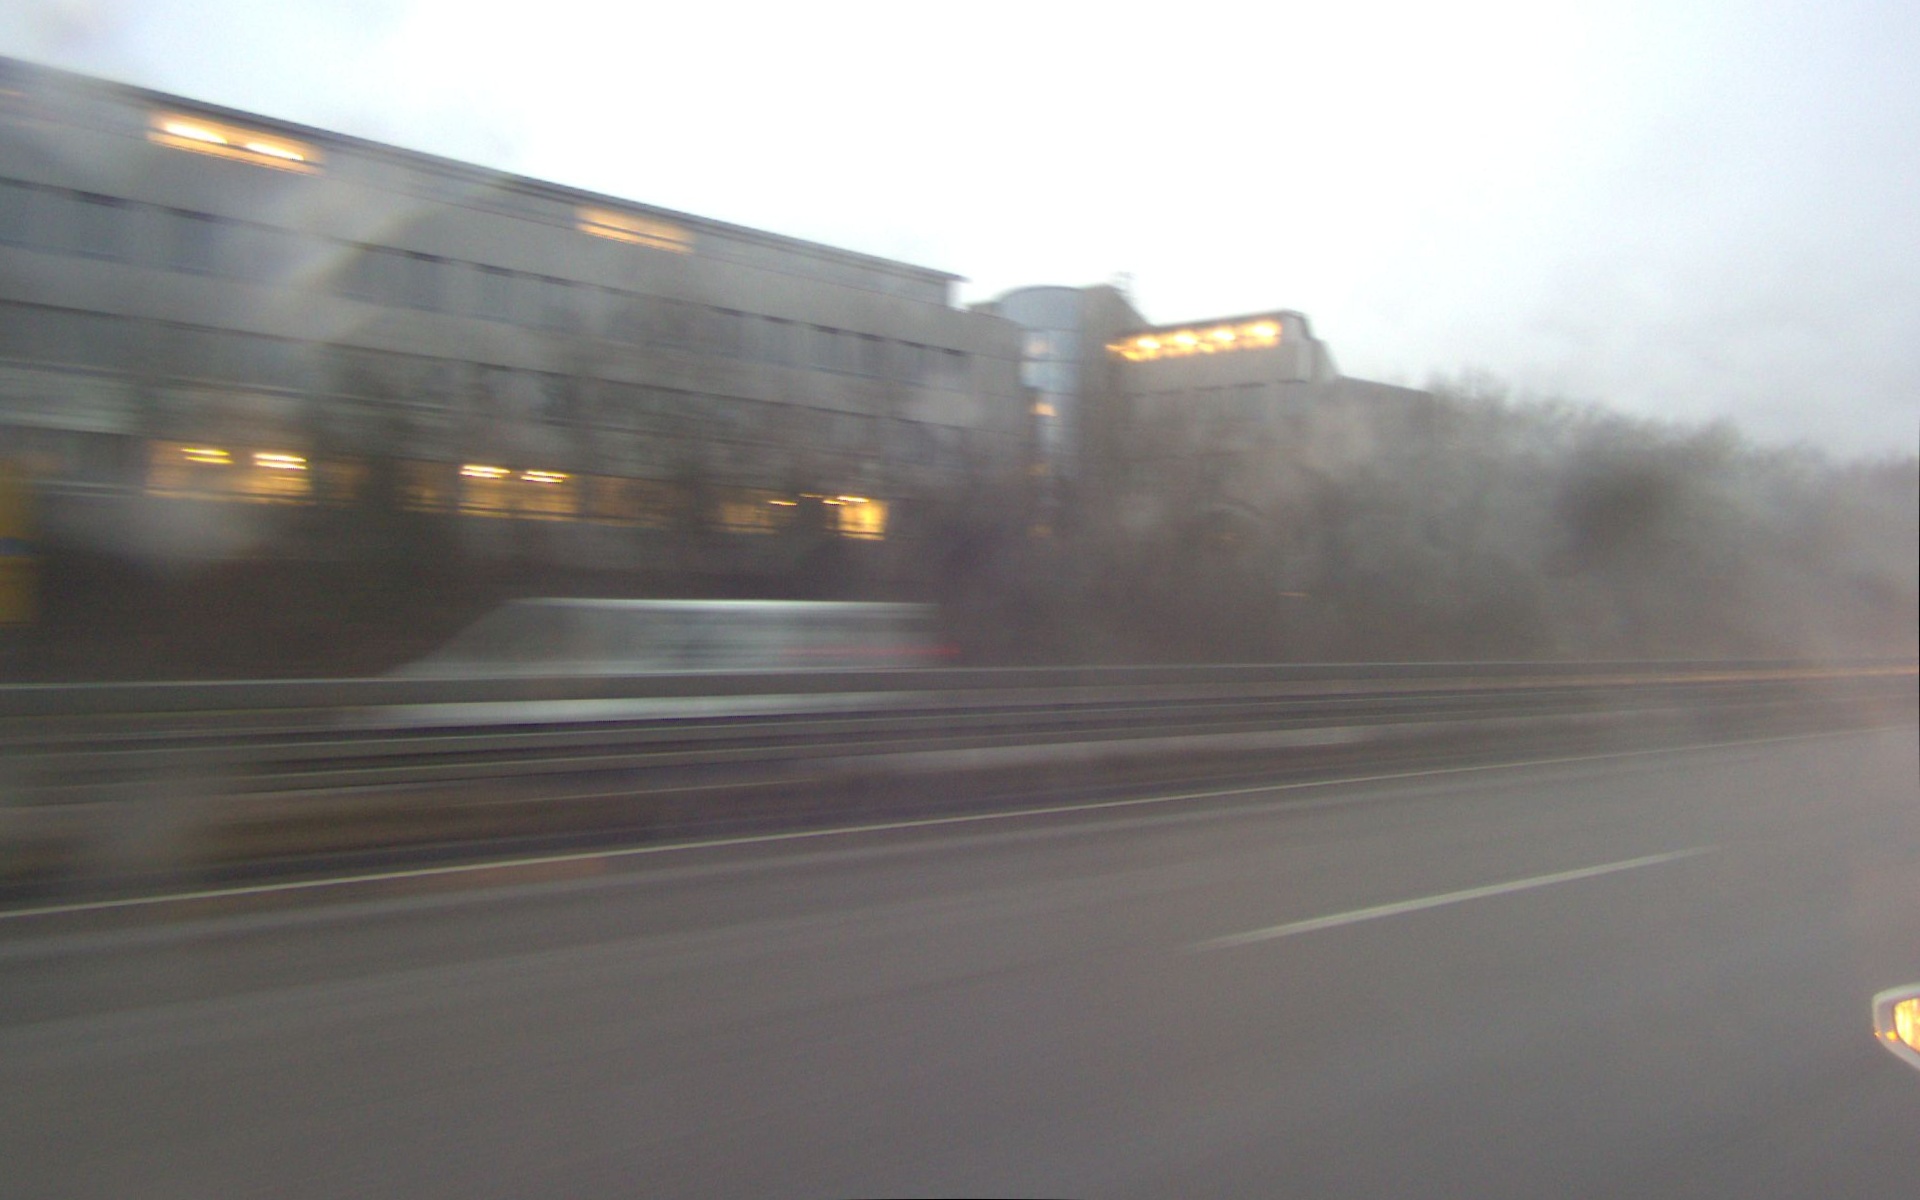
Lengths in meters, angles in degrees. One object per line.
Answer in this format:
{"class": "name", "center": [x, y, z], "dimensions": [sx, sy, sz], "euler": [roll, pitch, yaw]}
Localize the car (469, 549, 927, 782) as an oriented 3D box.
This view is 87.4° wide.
{"class": "car", "center": [-3.060, 0.707, 11.979], "dimensions": [4.984, 2.312, 1.968], "euler": [1, -1, -27]}
